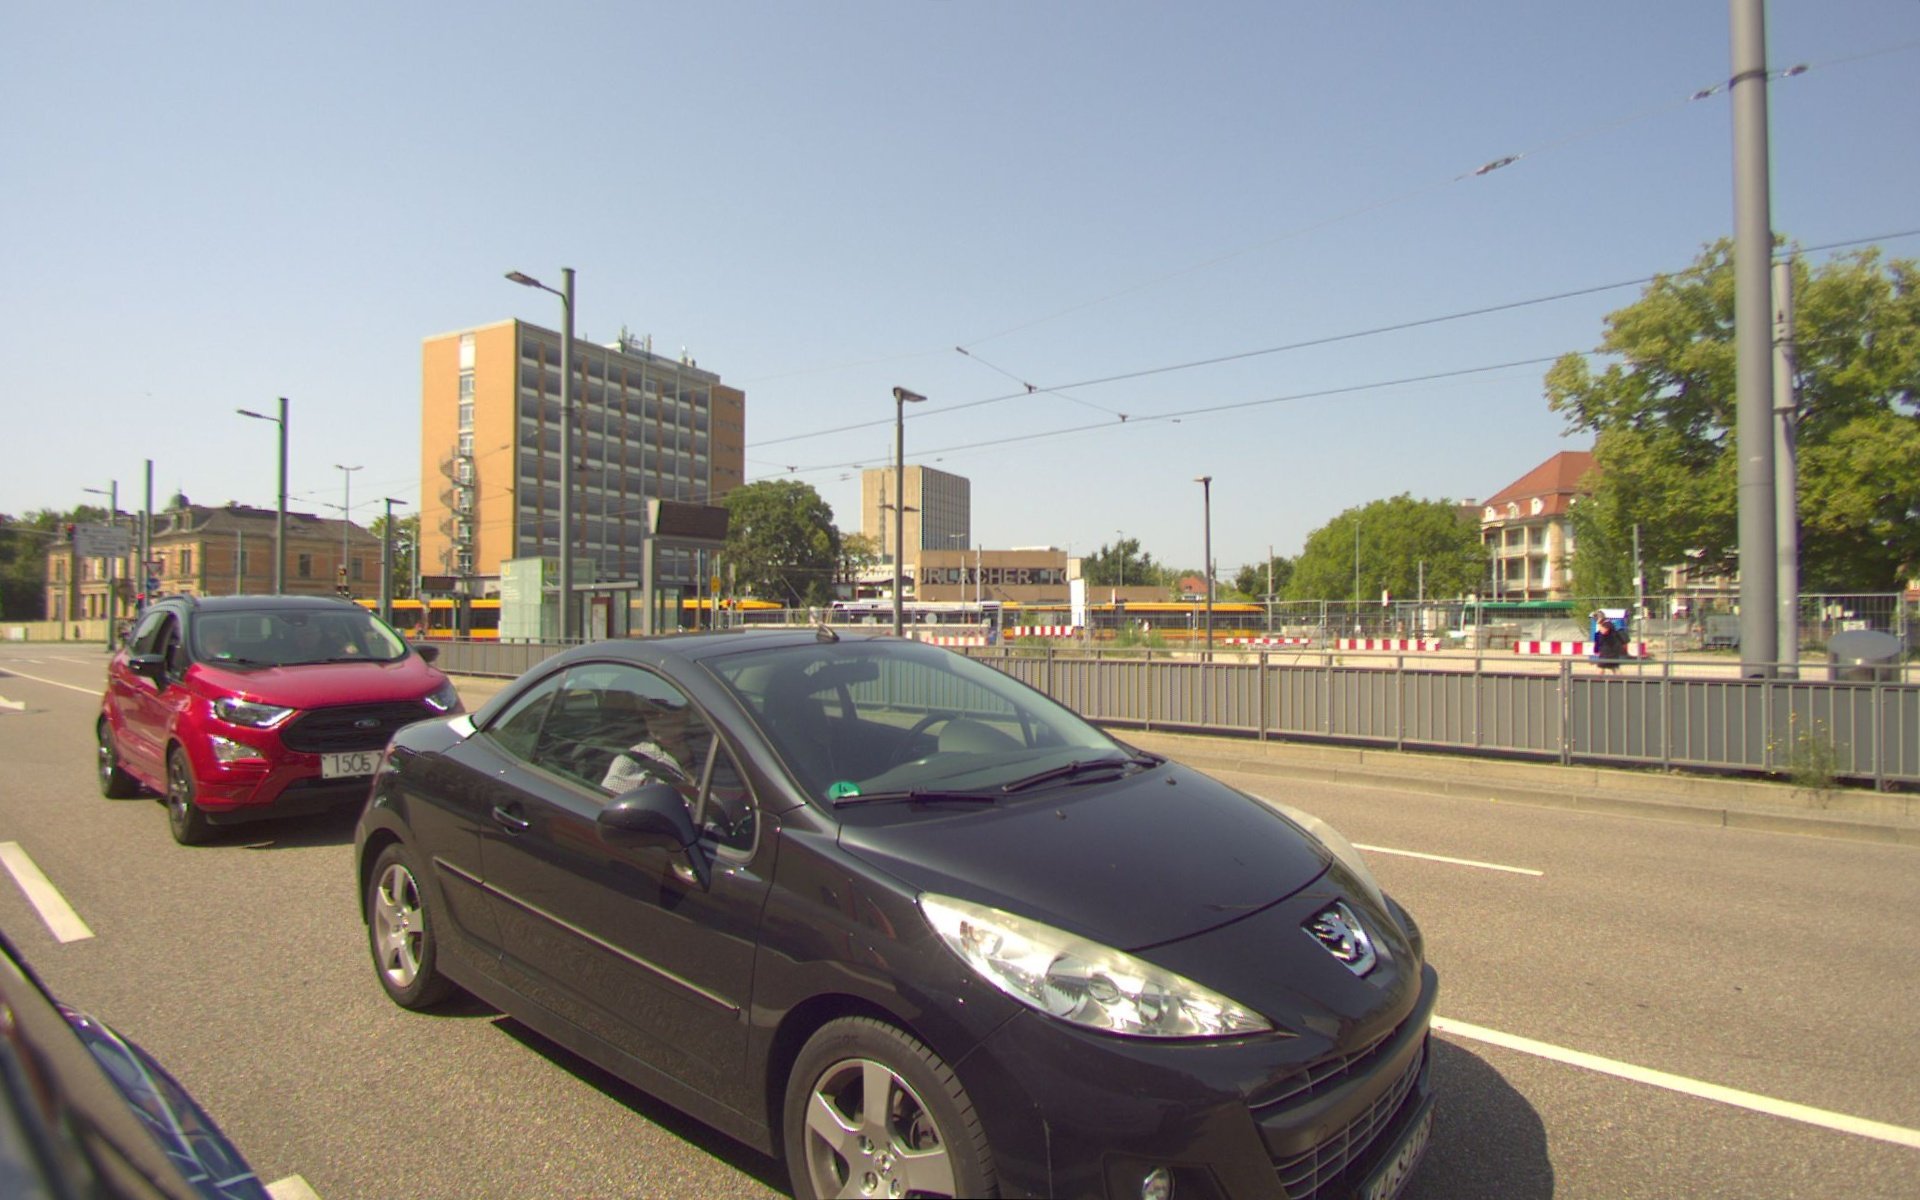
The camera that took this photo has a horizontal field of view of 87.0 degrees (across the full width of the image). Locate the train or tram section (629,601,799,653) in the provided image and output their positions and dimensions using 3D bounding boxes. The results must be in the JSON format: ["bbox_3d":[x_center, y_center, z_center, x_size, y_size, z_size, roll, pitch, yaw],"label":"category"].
[{"bbox_3d":[-18.251,2.047,75.569,12.178,3.794,2.002,0,-2,-5],"label":"train or tram section"}]

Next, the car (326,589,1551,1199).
[{"bbox_3d":[-0.432,0.729,3.260,3.799,1.424,1.671,-1,-1,40],"label":"car"}]

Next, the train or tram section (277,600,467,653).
[{"bbox_3d":[-42.518,1.931,73.477,12.178,3.794,2.002,0,-2,-5],"label":"train or tram section"}]

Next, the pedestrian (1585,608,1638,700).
[{"bbox_3d":[13.067,1.070,20.303,0.761,1.801,0.736,-2,-3,41],"label":"pedestrian"}]

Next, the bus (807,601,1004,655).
[{"bbox_3d":[-3.777,1.871,69.747,13.203,3.319,3.355,-1,0,-5],"label":"bus"}]

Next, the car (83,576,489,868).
[{"bbox_3d":[-5.219,0.715,7.615,3.966,1.633,1.613,-1,-1,42],"label":"car"}]

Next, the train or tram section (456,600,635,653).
[{"bbox_3d":[-30.387,1.987,74.524,12.178,3.794,2.002,0,-2,-5],"label":"train or tram section"}]
